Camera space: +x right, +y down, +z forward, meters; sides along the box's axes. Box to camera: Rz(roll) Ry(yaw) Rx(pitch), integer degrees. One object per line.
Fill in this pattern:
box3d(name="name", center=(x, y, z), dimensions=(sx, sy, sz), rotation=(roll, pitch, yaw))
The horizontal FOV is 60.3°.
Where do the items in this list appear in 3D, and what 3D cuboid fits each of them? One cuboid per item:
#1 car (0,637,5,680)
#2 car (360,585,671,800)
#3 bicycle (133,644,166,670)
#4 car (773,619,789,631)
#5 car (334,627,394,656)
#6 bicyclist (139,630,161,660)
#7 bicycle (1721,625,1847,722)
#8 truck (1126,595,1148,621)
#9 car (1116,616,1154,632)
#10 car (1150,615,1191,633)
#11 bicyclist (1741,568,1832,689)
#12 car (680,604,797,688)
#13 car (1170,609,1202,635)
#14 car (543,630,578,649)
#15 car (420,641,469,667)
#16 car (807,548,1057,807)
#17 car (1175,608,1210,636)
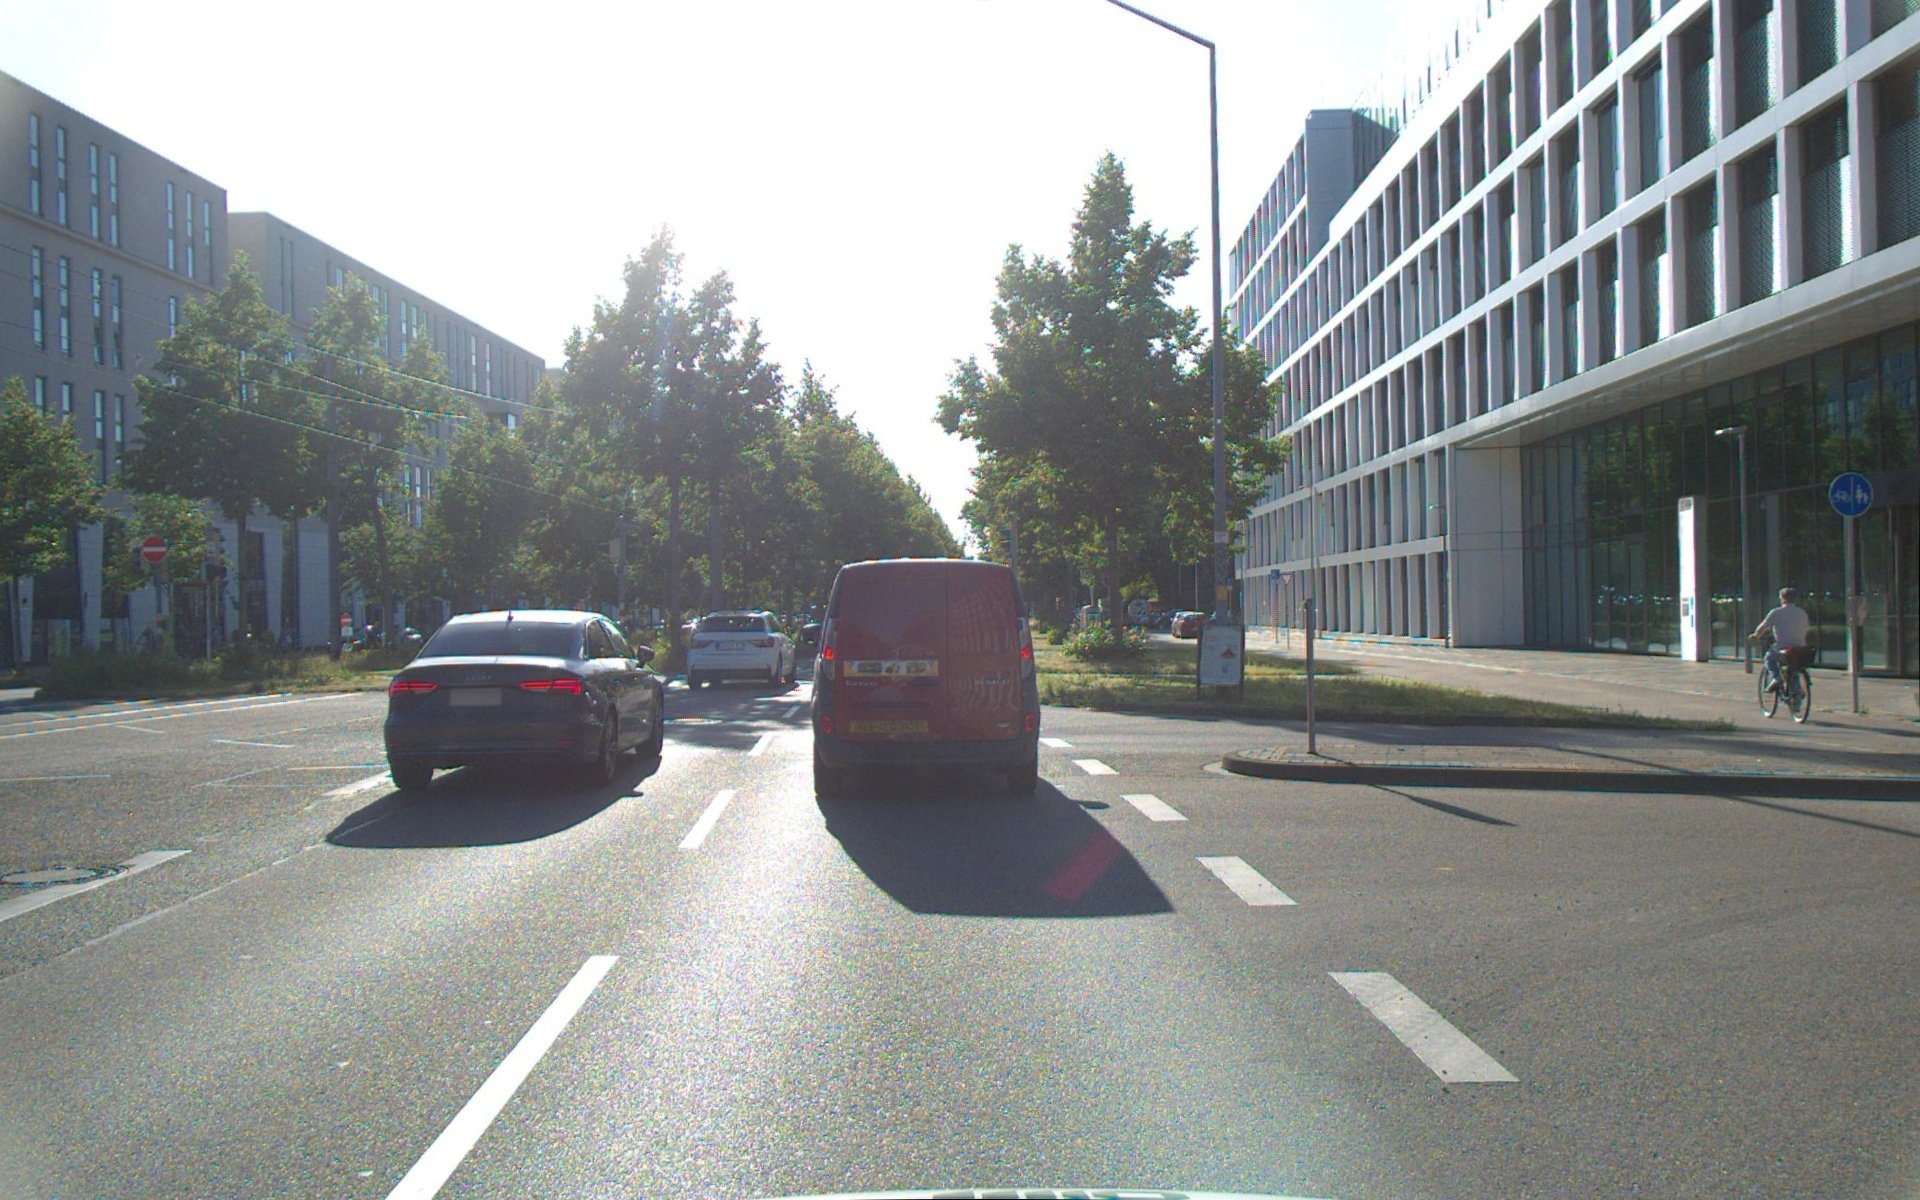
box3d(name="car", center=(-31.357, 1.848, 50.624), dimensions=(1.547, 1.366, 4.472), rotation=(-1, -1, 1))
box3d(name="car", center=(-3.670, 0.696, 14.390), dimensions=(1.772, 1.554, 4.110), rotation=(-1, 0, -3))
box3d(name="bicycle", center=(-36.153, 2.544, 73.774), dimensions=(0.517, 1.130, 1.639), rotation=(0, -1, 7))
box3d(name="car", center=(-25.791, 3.558, 238.381), dimensions=(1.719, 1.601, 4.001), rotation=(-1, -1, 1))
box3d(name="car", center=(-29.966, 2.048, 83.261), dimensions=(1.547, 1.366, 3.712), rotation=(-1, -1, 1))
box3d(name="bicyclist", center=(-36.146, 2.018, 73.822), dimensions=(0.566, 1.316, 0.705), rotation=(0, -1, 7))
box3d(name="bicycle", center=(10.944, 0.946, 22.040), dimensions=(0.726, 1.194, 1.962), rotation=(-1, 0, 2))
box3d(name="truck", center=(18.106, 0.867, 169.415), dimensions=(1.794, 2.545, 5.933), rotation=(-1, -1, 1))
box3d(name="car", center=(15.810, 2.173, 149.364), dimensions=(3.326, 1.382, 1.472), rotation=(-1, -1, 8))
box3d(name="car", center=(17.485, 1.981, 137.492), dimensions=(3.326, 1.382, 1.472), rotation=(-1, -1, 8))
box3d(name="bicyclist", center=(10.931, 0.370, 21.897), dimensions=(0.755, 1.558, 0.850), rotation=(-2, 0, 2))
box3d(name="car", center=(-4.171, 0.838, 31.702), dimensions=(1.771, 1.460, 4.111), rotation=(-1, 0, -2))
box3d(name="car", center=(14.152, 1.343, 103.755), dimensions=(1.781, 1.559, 3.439), rotation=(-1, -1, 5))
box3d(name="car", center=(-29.421, 2.906, 121.854), dimensions=(1.547, 1.366, 3.712), rotation=(-1, -1, 1))
box3d(name="car", center=(-29.960, 3.137, 96.233), dimensions=(1.547, 1.366, 3.712), rotation=(-1, -1, 1))
box3d(name="car", center=(-0.339, 0.561, 13.980), dimensions=(1.772, 1.826, 4.109), rotation=(-1, 0, -4))
box3d(name="car", center=(13.849, 1.299, 98.557), dimensions=(1.721, 1.640, 3.905), rotation=(-1, 0, 3))
